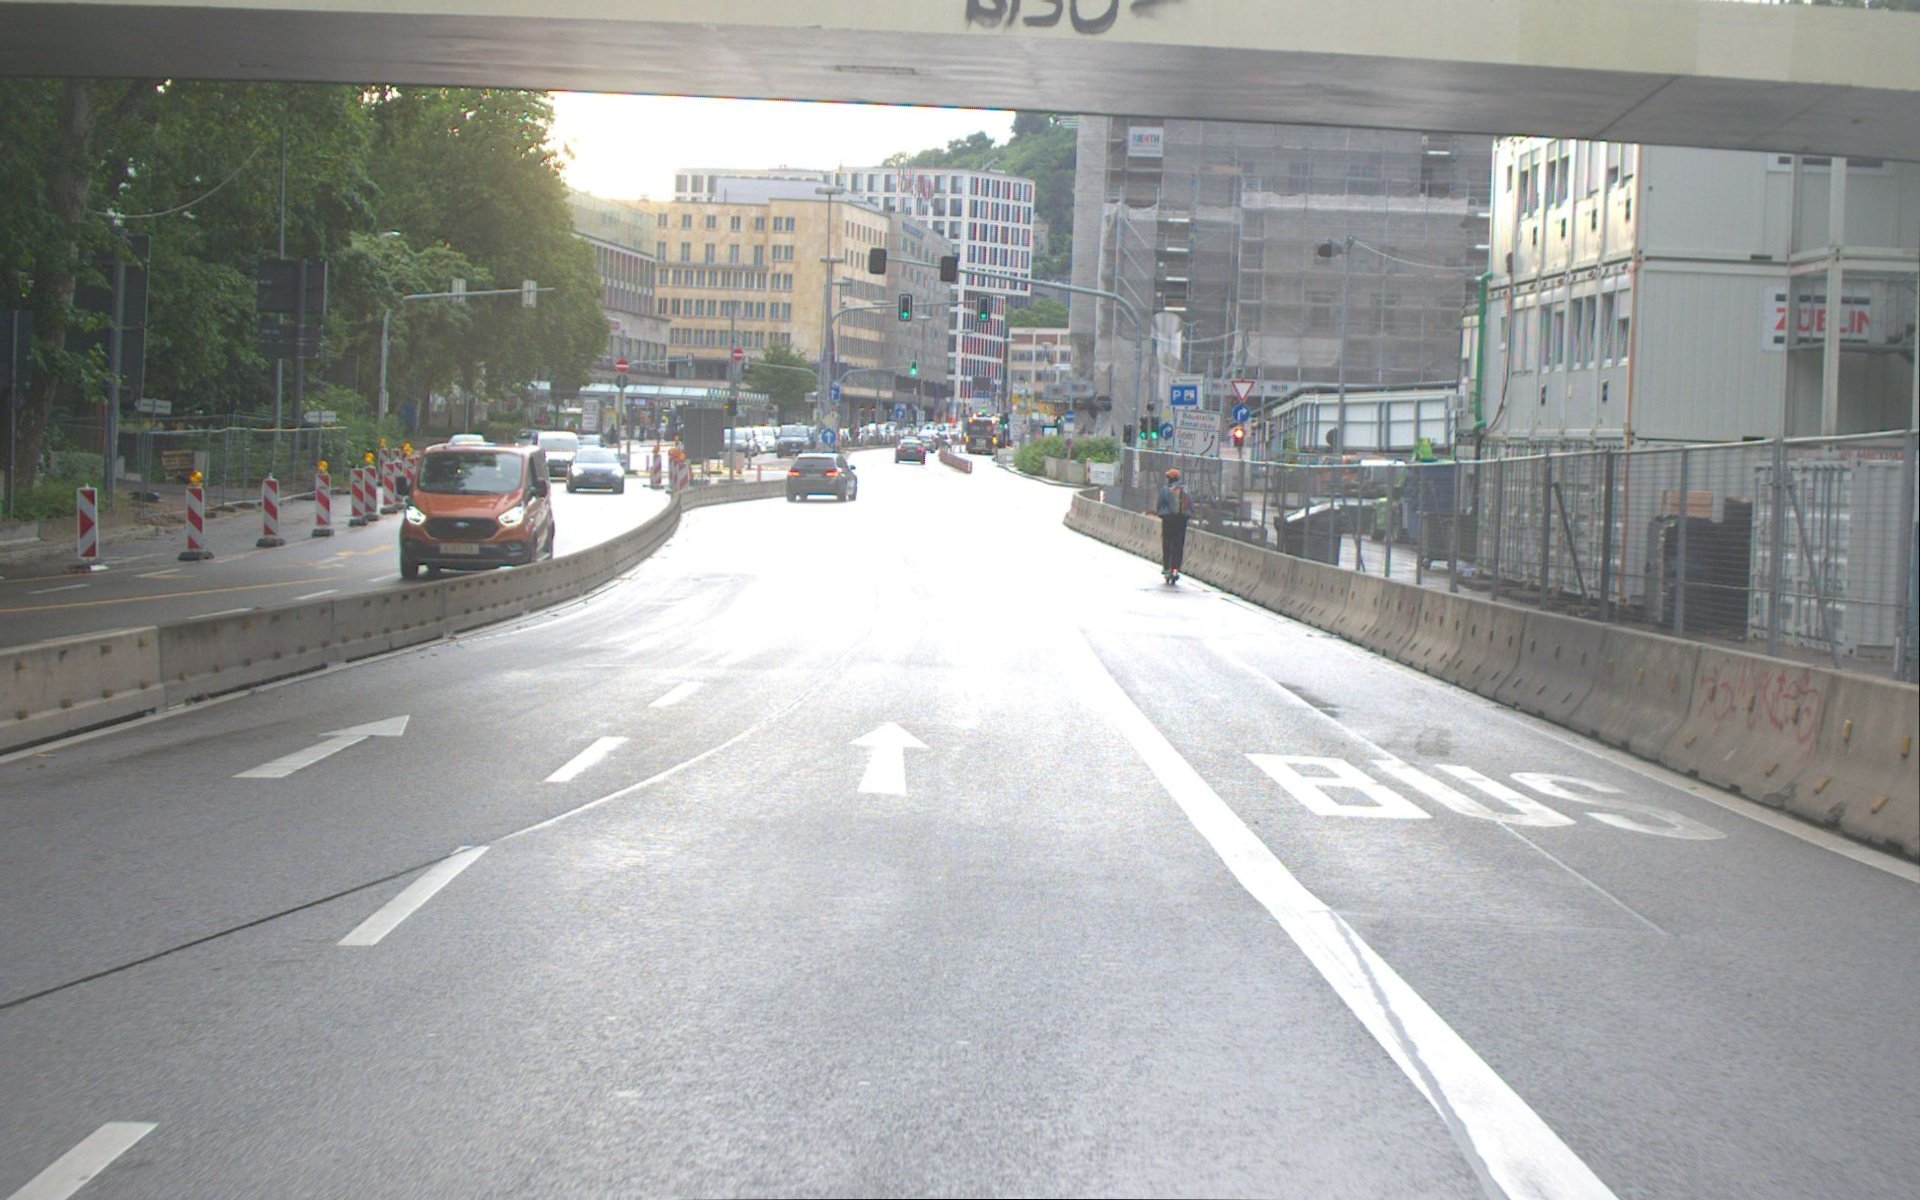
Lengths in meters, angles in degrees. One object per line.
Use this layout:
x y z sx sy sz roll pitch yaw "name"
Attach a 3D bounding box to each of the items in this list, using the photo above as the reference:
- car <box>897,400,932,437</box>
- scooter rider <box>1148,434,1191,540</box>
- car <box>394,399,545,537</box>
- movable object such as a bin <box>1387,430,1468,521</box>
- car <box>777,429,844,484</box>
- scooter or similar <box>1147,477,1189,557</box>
-2.714 -10.831 205.197 1.993 2.007 4.000 1 0 0 "car"
3.586 -1.942 58.928 0.597 1.779 0.997 3 2 1 "scooter rider"
-7.465 -1.970 52.729 2.030 1.930 5.045 1 0 -5 "car"
11.838 -3.153 87.032 1.456 2.195 1.266 1 4 -25 "movable object such as a bin"
-4.567 -4.345 104.617 1.901 1.522 4.178 1 0 -4 "car"
3.565 -1.433 59.015 0.597 1.314 1.667 3 2 1 "scooter or similar"
